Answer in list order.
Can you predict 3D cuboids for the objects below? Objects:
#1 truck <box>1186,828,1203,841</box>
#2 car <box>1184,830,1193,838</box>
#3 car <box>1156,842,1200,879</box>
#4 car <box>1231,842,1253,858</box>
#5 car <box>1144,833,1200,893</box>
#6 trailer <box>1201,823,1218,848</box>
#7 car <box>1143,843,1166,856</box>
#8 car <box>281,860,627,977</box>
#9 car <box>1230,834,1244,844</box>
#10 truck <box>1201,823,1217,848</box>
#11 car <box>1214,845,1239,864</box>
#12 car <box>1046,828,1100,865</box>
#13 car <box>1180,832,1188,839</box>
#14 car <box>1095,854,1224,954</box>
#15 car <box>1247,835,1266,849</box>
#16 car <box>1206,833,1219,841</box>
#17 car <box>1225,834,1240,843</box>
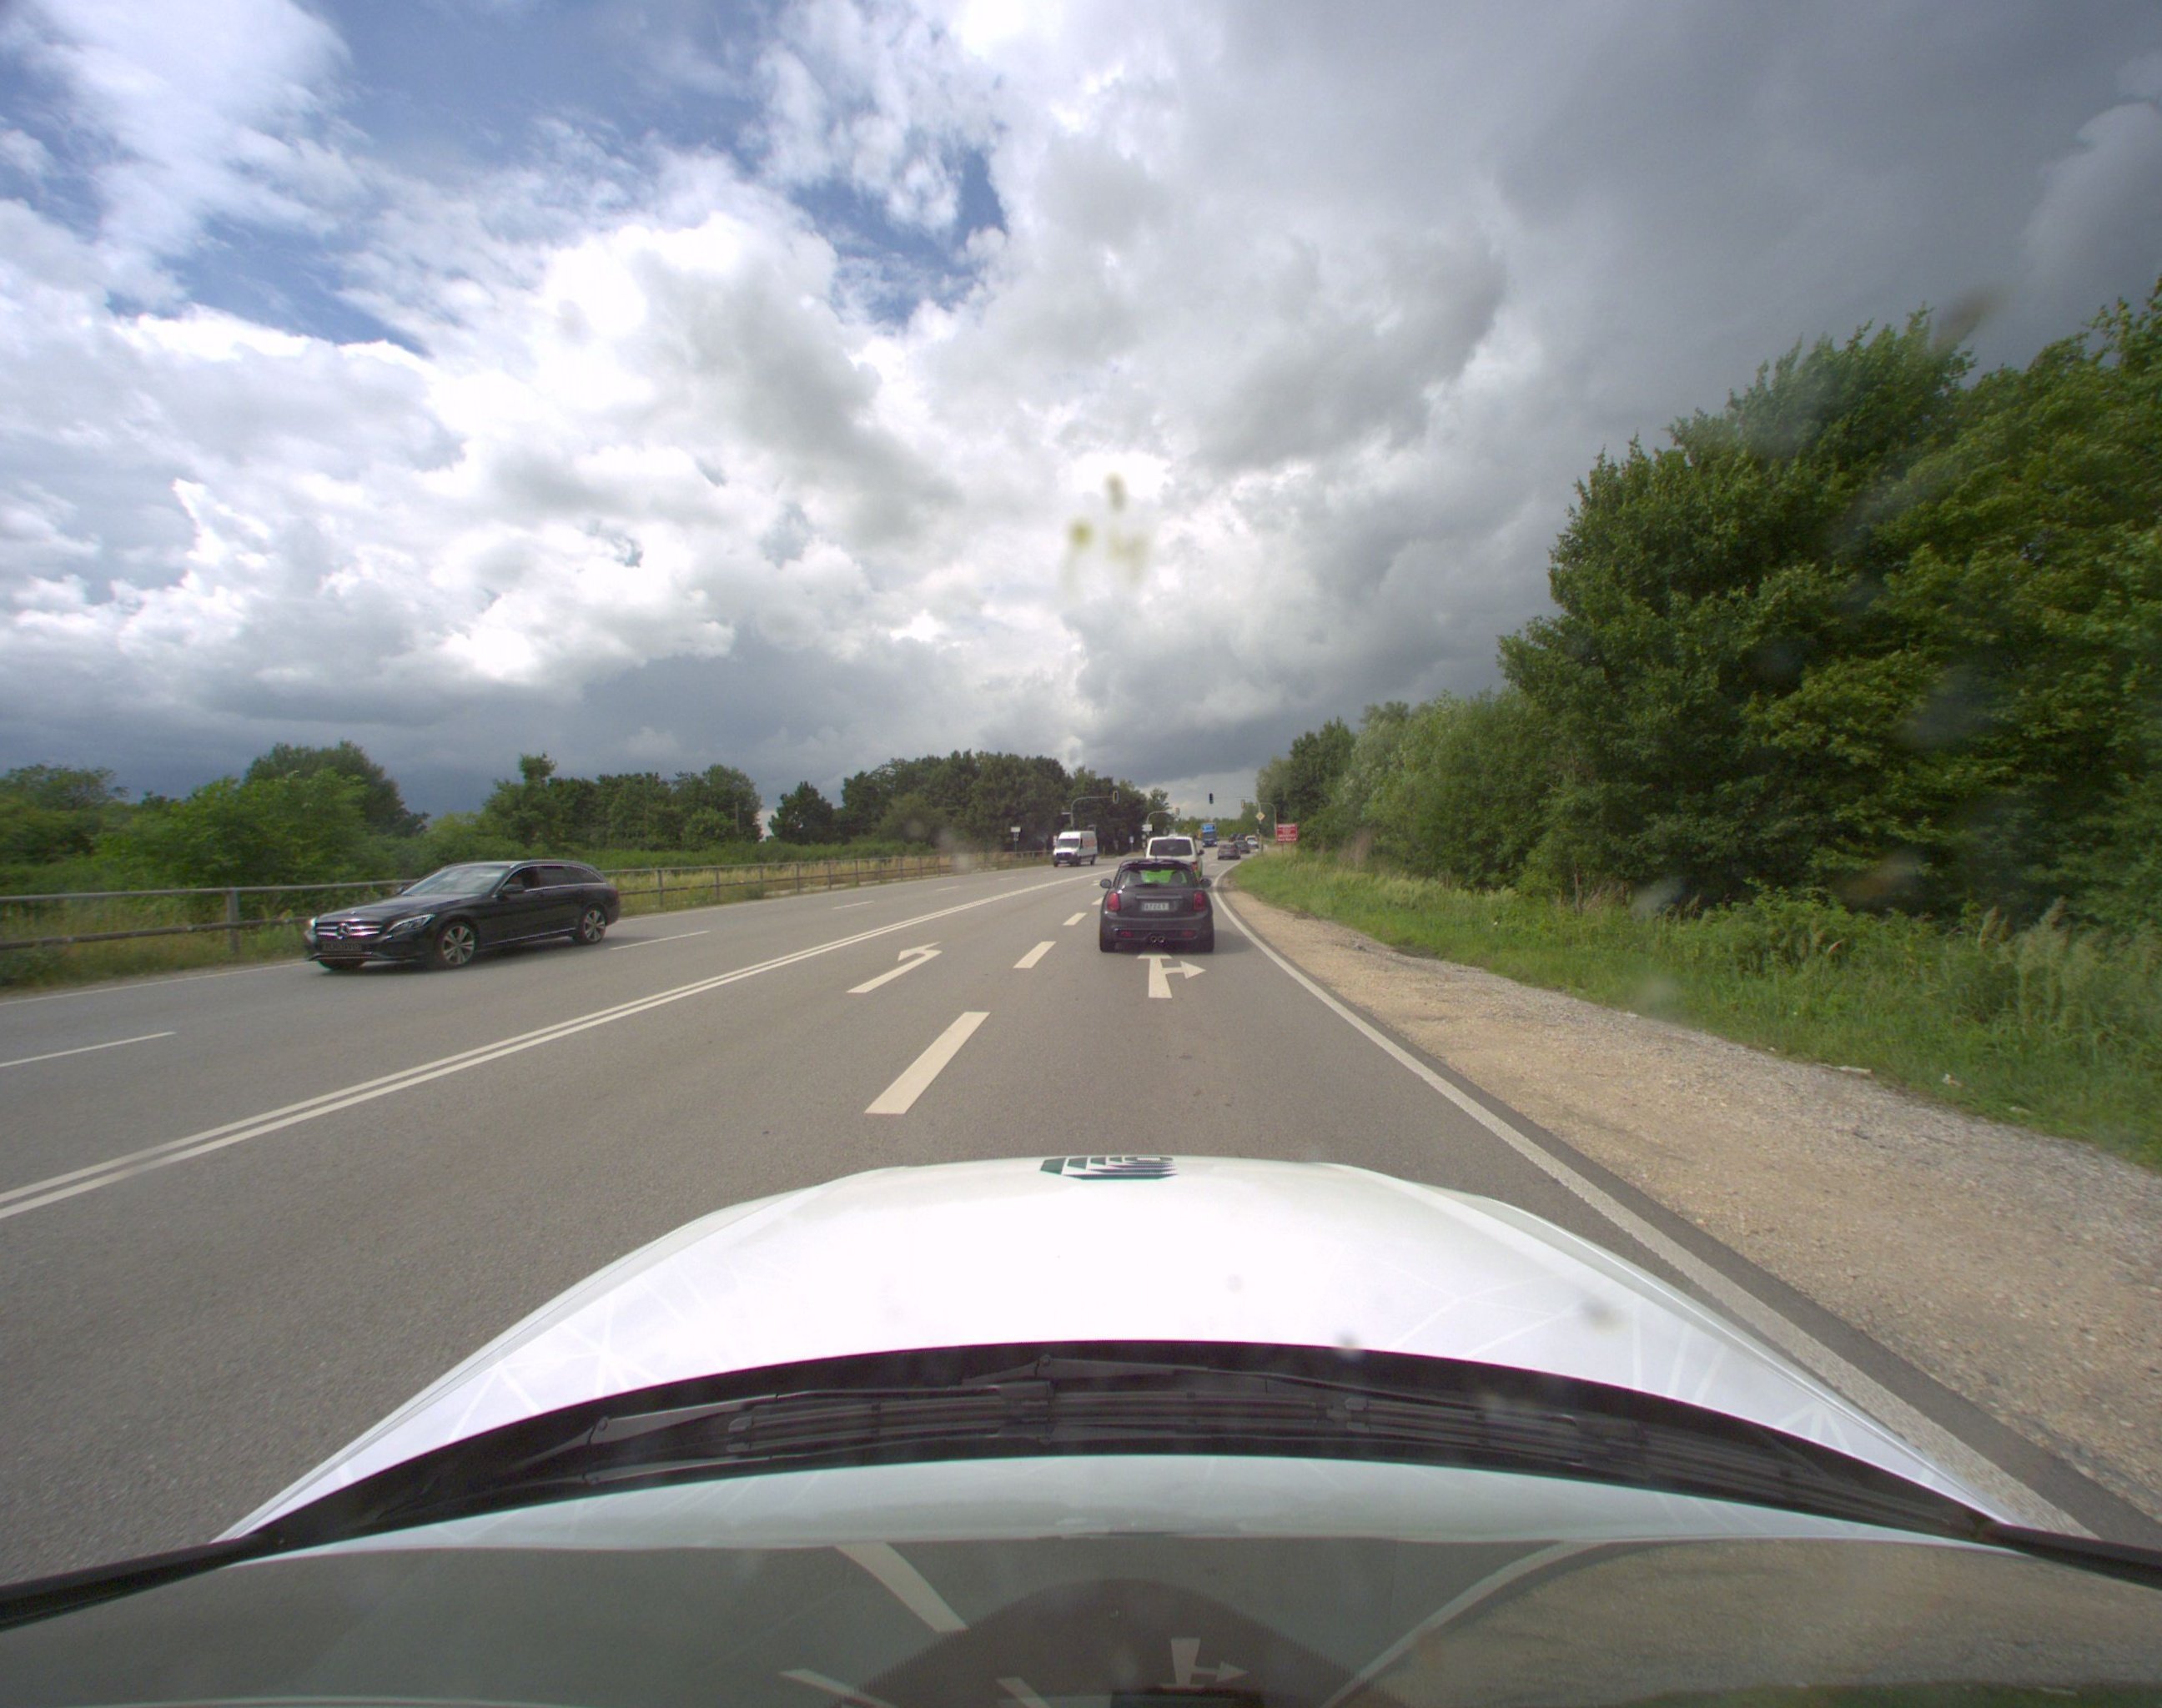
[{"bbox_3d":[29.034,-5.001,208.092,2.710,2.898,8.763,-1,0,-2],"label":"truck"},{"bbox_3d":[30.746,-5.657,232.885,2.174,2.014,3.998,-1,-1,-1],"label":"car"},{"bbox_3d":[4.839,0.330,40.095,1.982,1.684,4.009,-1,-1,8],"label":"car"},{"bbox_3d":[17.945,-0.435,90.561,1.977,1.684,3.995,0,-1,18],"label":"car"},{"bbox_3d":[3.301,0.286,29.286,1.835,1.987,3.849,-1,1,7],"label":"car"},{"bbox_3d":[22.232,-3.132,140.535,2.511,4.100,6.755,-1,1,10],"label":"trailer"},{"bbox_3d":[8.667,-0.502,96.136,1.931,1.441,4.017,-1,0,16],"label":"car"},{"bbox_3d":[-9.392,0.863,12.776,1.800,1.441,4.359,-1,0,5],"label":"car"},{"bbox_3d":[27.664,-2.606,144.708,1.985,1.695,4.491,-1,1,4],"label":"car"},{"bbox_3d":[21.534,-3.073,136.957,2.523,4.096,4.013,-1,0,11],"label":"truck"},{"bbox_3d":[13.058,0.073,72.895,1.979,1.684,4.015,0,-1,14],"label":"car"},{"bbox_3d":[-0.510,-0.542,62.662,2.416,2.674,6.916,-1,0,15],"label":"car"},{"bbox_3d":[31.893,-5.759,252.391,1.989,2.014,3.995,-1,-1,-4],"label":"car"},{"bbox_3d":[1.249,0.734,13.718,1.837,1.428,3.844,-1,0,3],"label":"car"},{"bbox_3d":[23.085,-1.562,107.058,1.978,1.684,4.018,0,-1,18],"label":"car"},{"bbox_3d":[29.535,-3.800,182.583,1.988,1.787,4.483,-2,1,-1],"label":"car"},{"bbox_3d":[30.034,-3.100,161.480,1.988,1.695,4.483,-1,1,-1],"label":"car"}]
